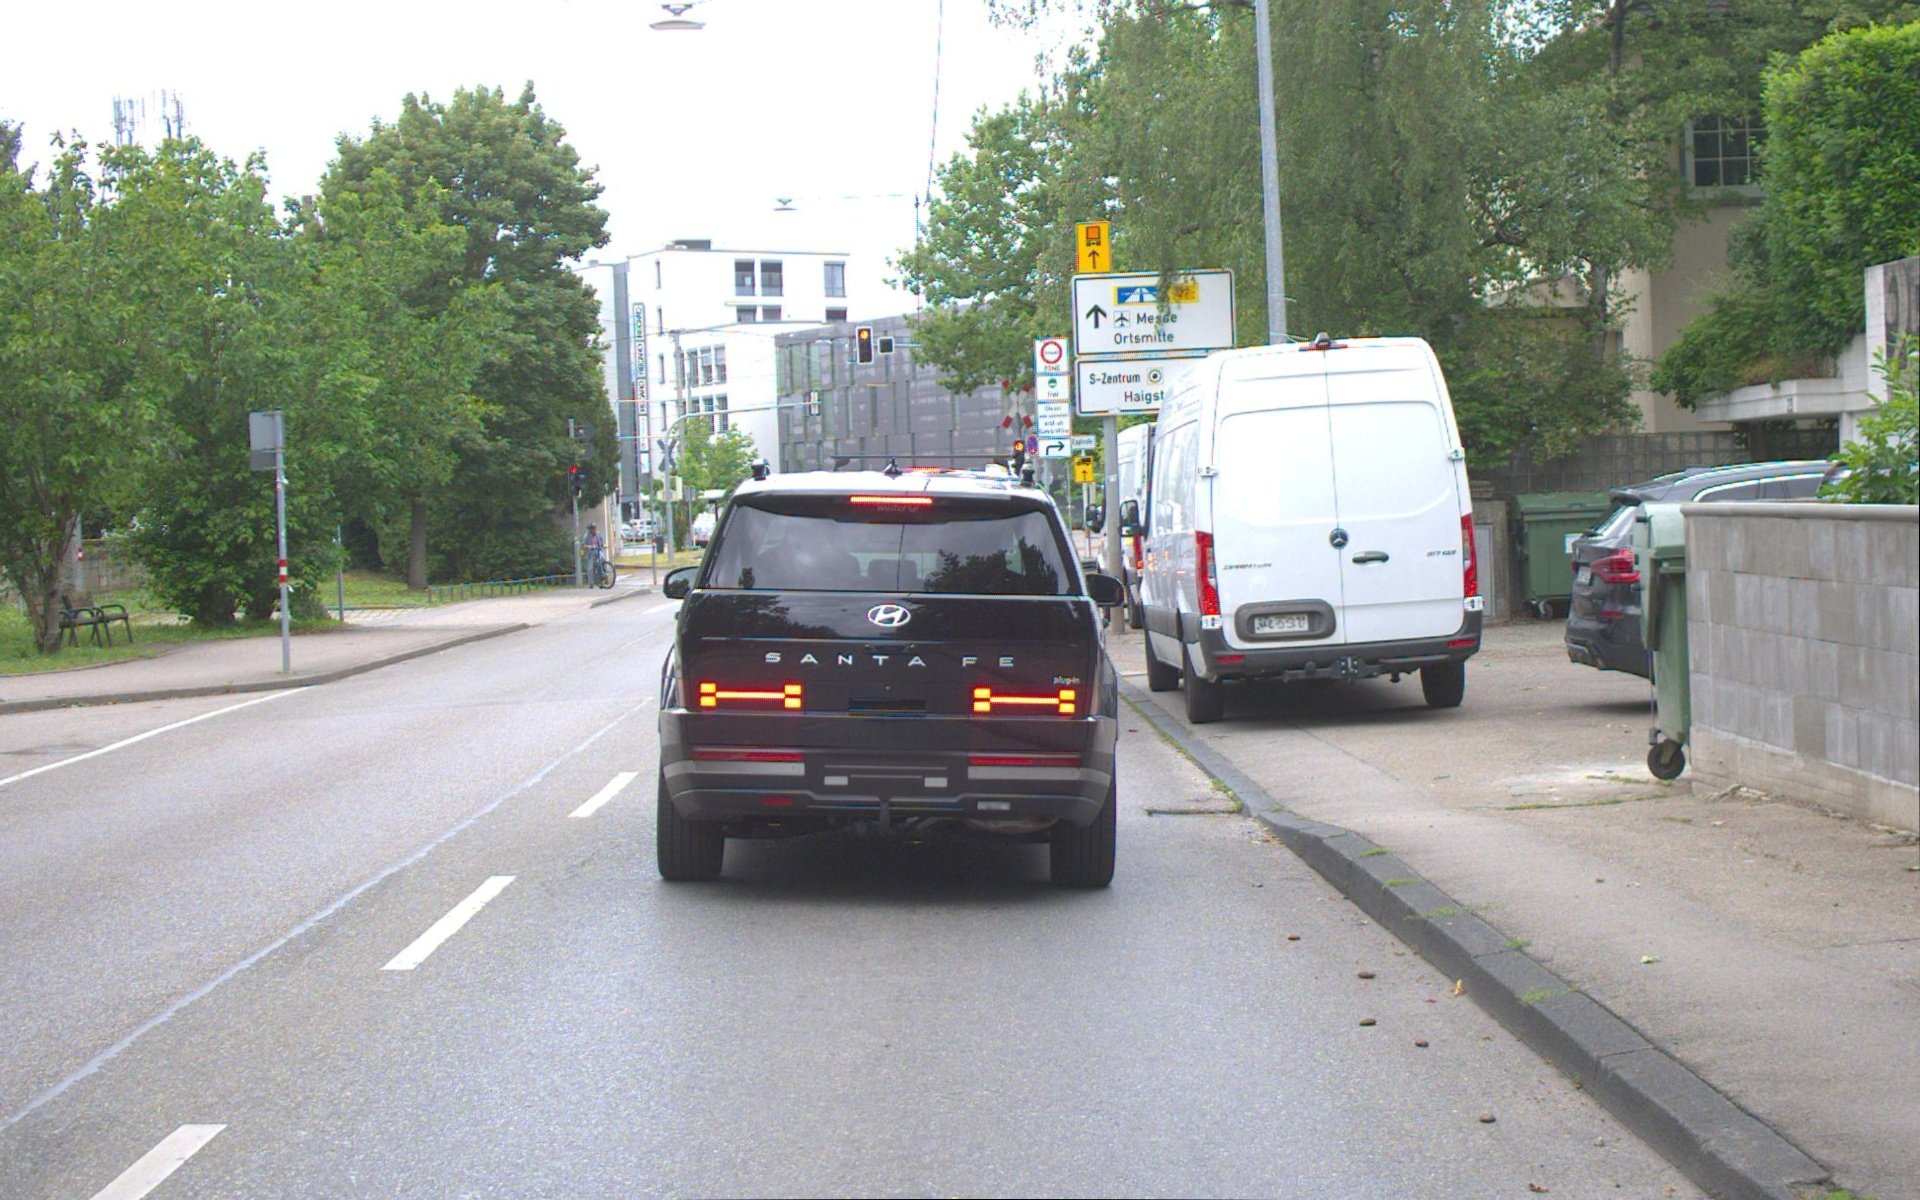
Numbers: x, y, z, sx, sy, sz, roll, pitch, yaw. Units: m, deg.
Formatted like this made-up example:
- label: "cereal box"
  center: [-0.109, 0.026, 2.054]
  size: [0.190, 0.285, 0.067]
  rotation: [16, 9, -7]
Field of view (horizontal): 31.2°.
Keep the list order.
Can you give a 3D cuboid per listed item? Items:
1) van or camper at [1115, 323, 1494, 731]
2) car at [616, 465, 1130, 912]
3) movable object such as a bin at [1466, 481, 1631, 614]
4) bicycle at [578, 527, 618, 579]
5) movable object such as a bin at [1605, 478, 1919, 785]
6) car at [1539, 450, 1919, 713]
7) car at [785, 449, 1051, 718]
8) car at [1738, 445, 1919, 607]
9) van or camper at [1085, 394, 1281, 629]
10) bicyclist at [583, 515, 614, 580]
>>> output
- label: "van or camper"
  center: [2.464, -0.571, 26.315]
  size: [1.963, 2.618, 6.359]
  rotation: [-4, 1, -1]
- label: "car"
  center: [-0.358, 0.292, 15.228]
  size: [1.963, 1.705, 4.000]
  rotation: [0, 1, -1]
- label: "movable object such as a bin"
  center: [6.721, -0.609, 39.351]
  size: [1.449, 1.468, 1.718]
  rotation: [-1, 1, -6]
- label: "bicycle"
  center: [-9.297, -1.193, 88.251]
  size: [0.675, 1.275, 2.502]
  rotation: [0, 0, -14]
- label: "movable object such as a bin"
  center: [4.071, 0.143, 17.459]
  size: [1.299, 1.445, 1.181]
  rotation: [-3, 1, 0]
- label: "car"
  center: [6.340, -0.192, 23.577]
  size: [4.394, 1.646, 1.830]
  rotation: [-2, 1, 1]
- label: "car"
  center: [-0.353, -0.174, 27.624]
  size: [1.963, 1.994, 4.001]
  rotation: [-1, 1, -1]
- label: "car"
  center: [10.708, -0.819, 37.429]
  size: [3.986, 1.705, 1.970]
  rotation: [-1, 1, -2]
- label: "van or camper"
  center: [2.853, -1.165, 45.136]
  size: [1.963, 2.787, 5.287]
  rotation: [-4, 1, -1]
- label: "bicyclist"
  center: [-9.294, -1.337, 88.281]
  size: [0.675, 1.653, 0.859]
  rotation: [0, 0, -14]
